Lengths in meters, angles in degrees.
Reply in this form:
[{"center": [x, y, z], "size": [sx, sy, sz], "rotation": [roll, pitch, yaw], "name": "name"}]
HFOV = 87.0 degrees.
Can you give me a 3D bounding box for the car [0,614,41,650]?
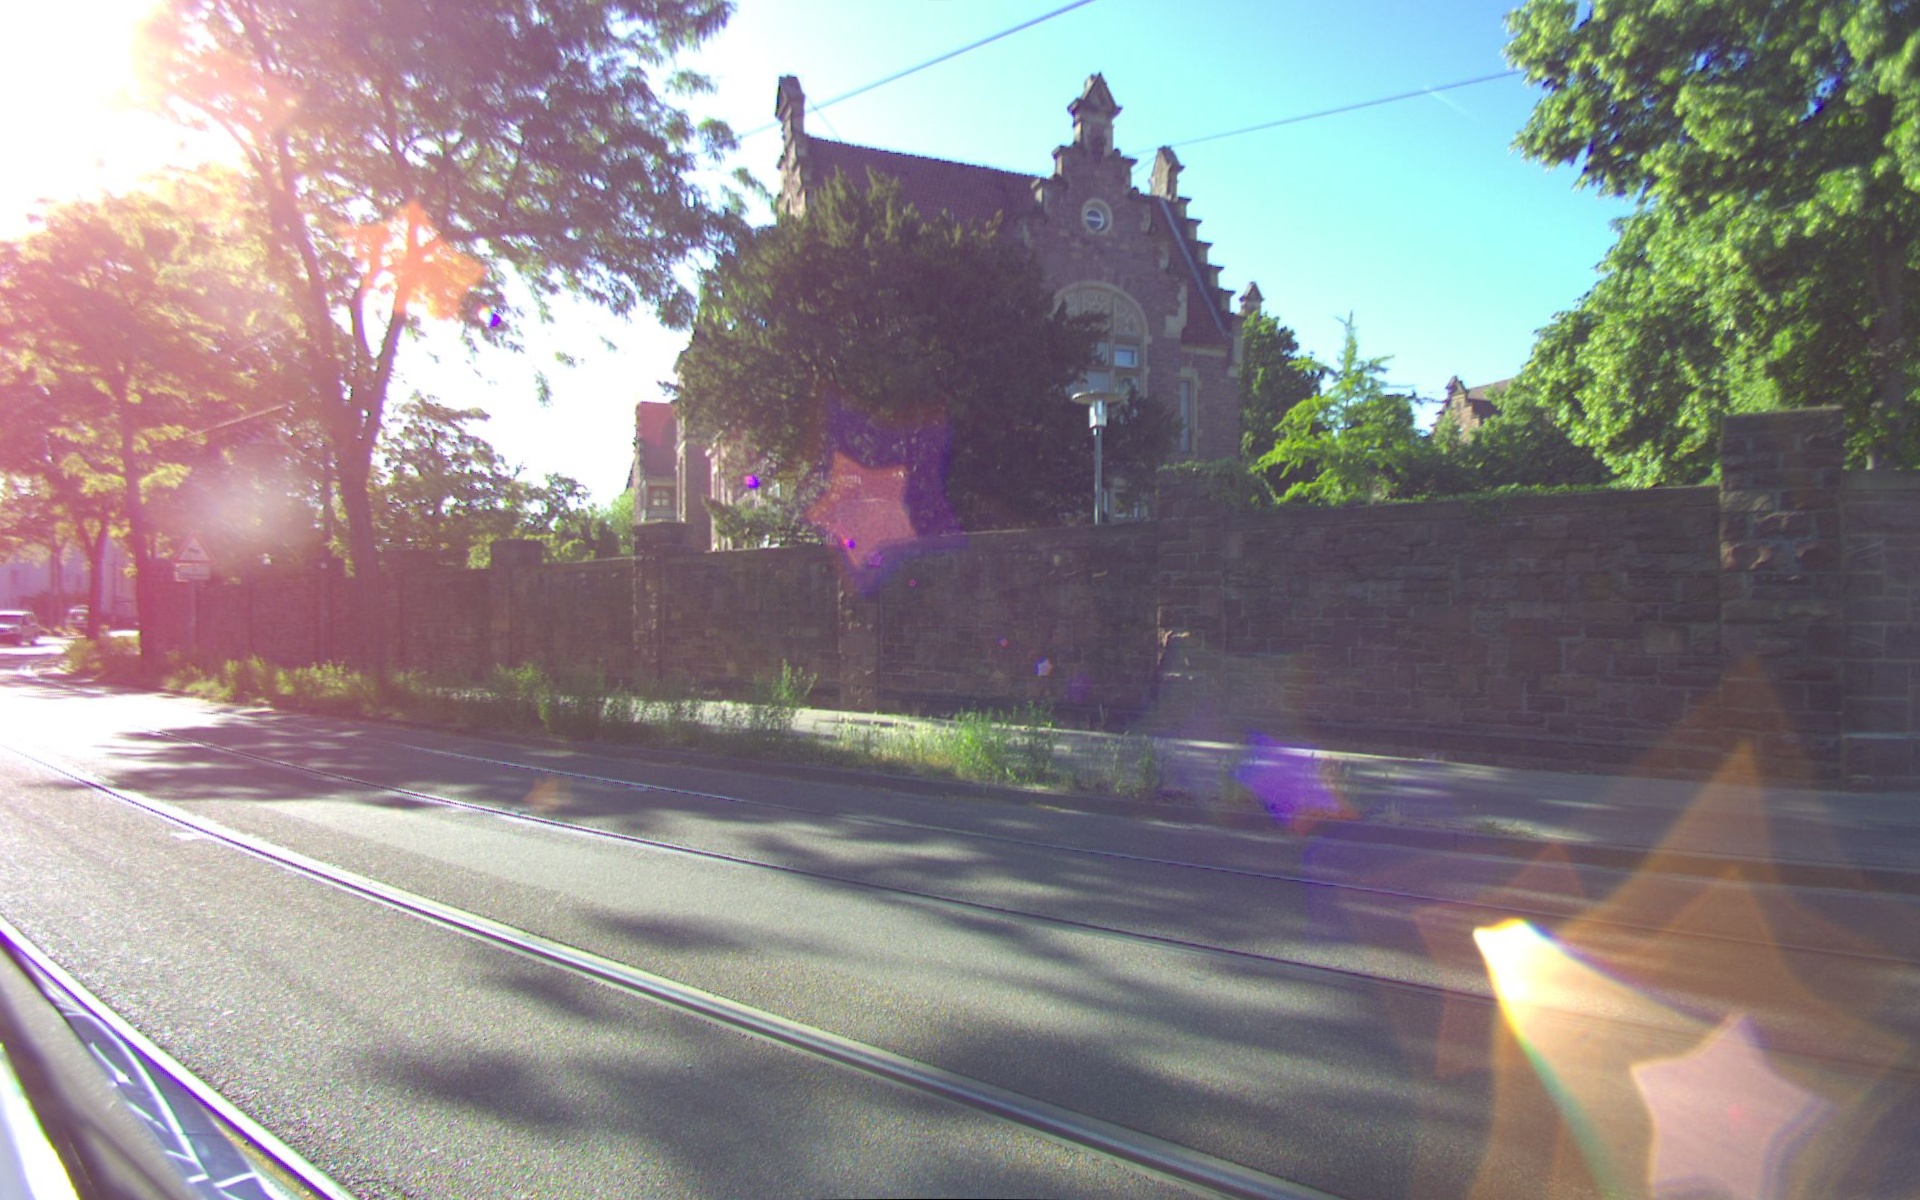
[{"center": [-49.492, 1.640, 52.372], "size": [1.846, 1.830, 4.982], "rotation": [0, -1, -30], "name": "car"}]
